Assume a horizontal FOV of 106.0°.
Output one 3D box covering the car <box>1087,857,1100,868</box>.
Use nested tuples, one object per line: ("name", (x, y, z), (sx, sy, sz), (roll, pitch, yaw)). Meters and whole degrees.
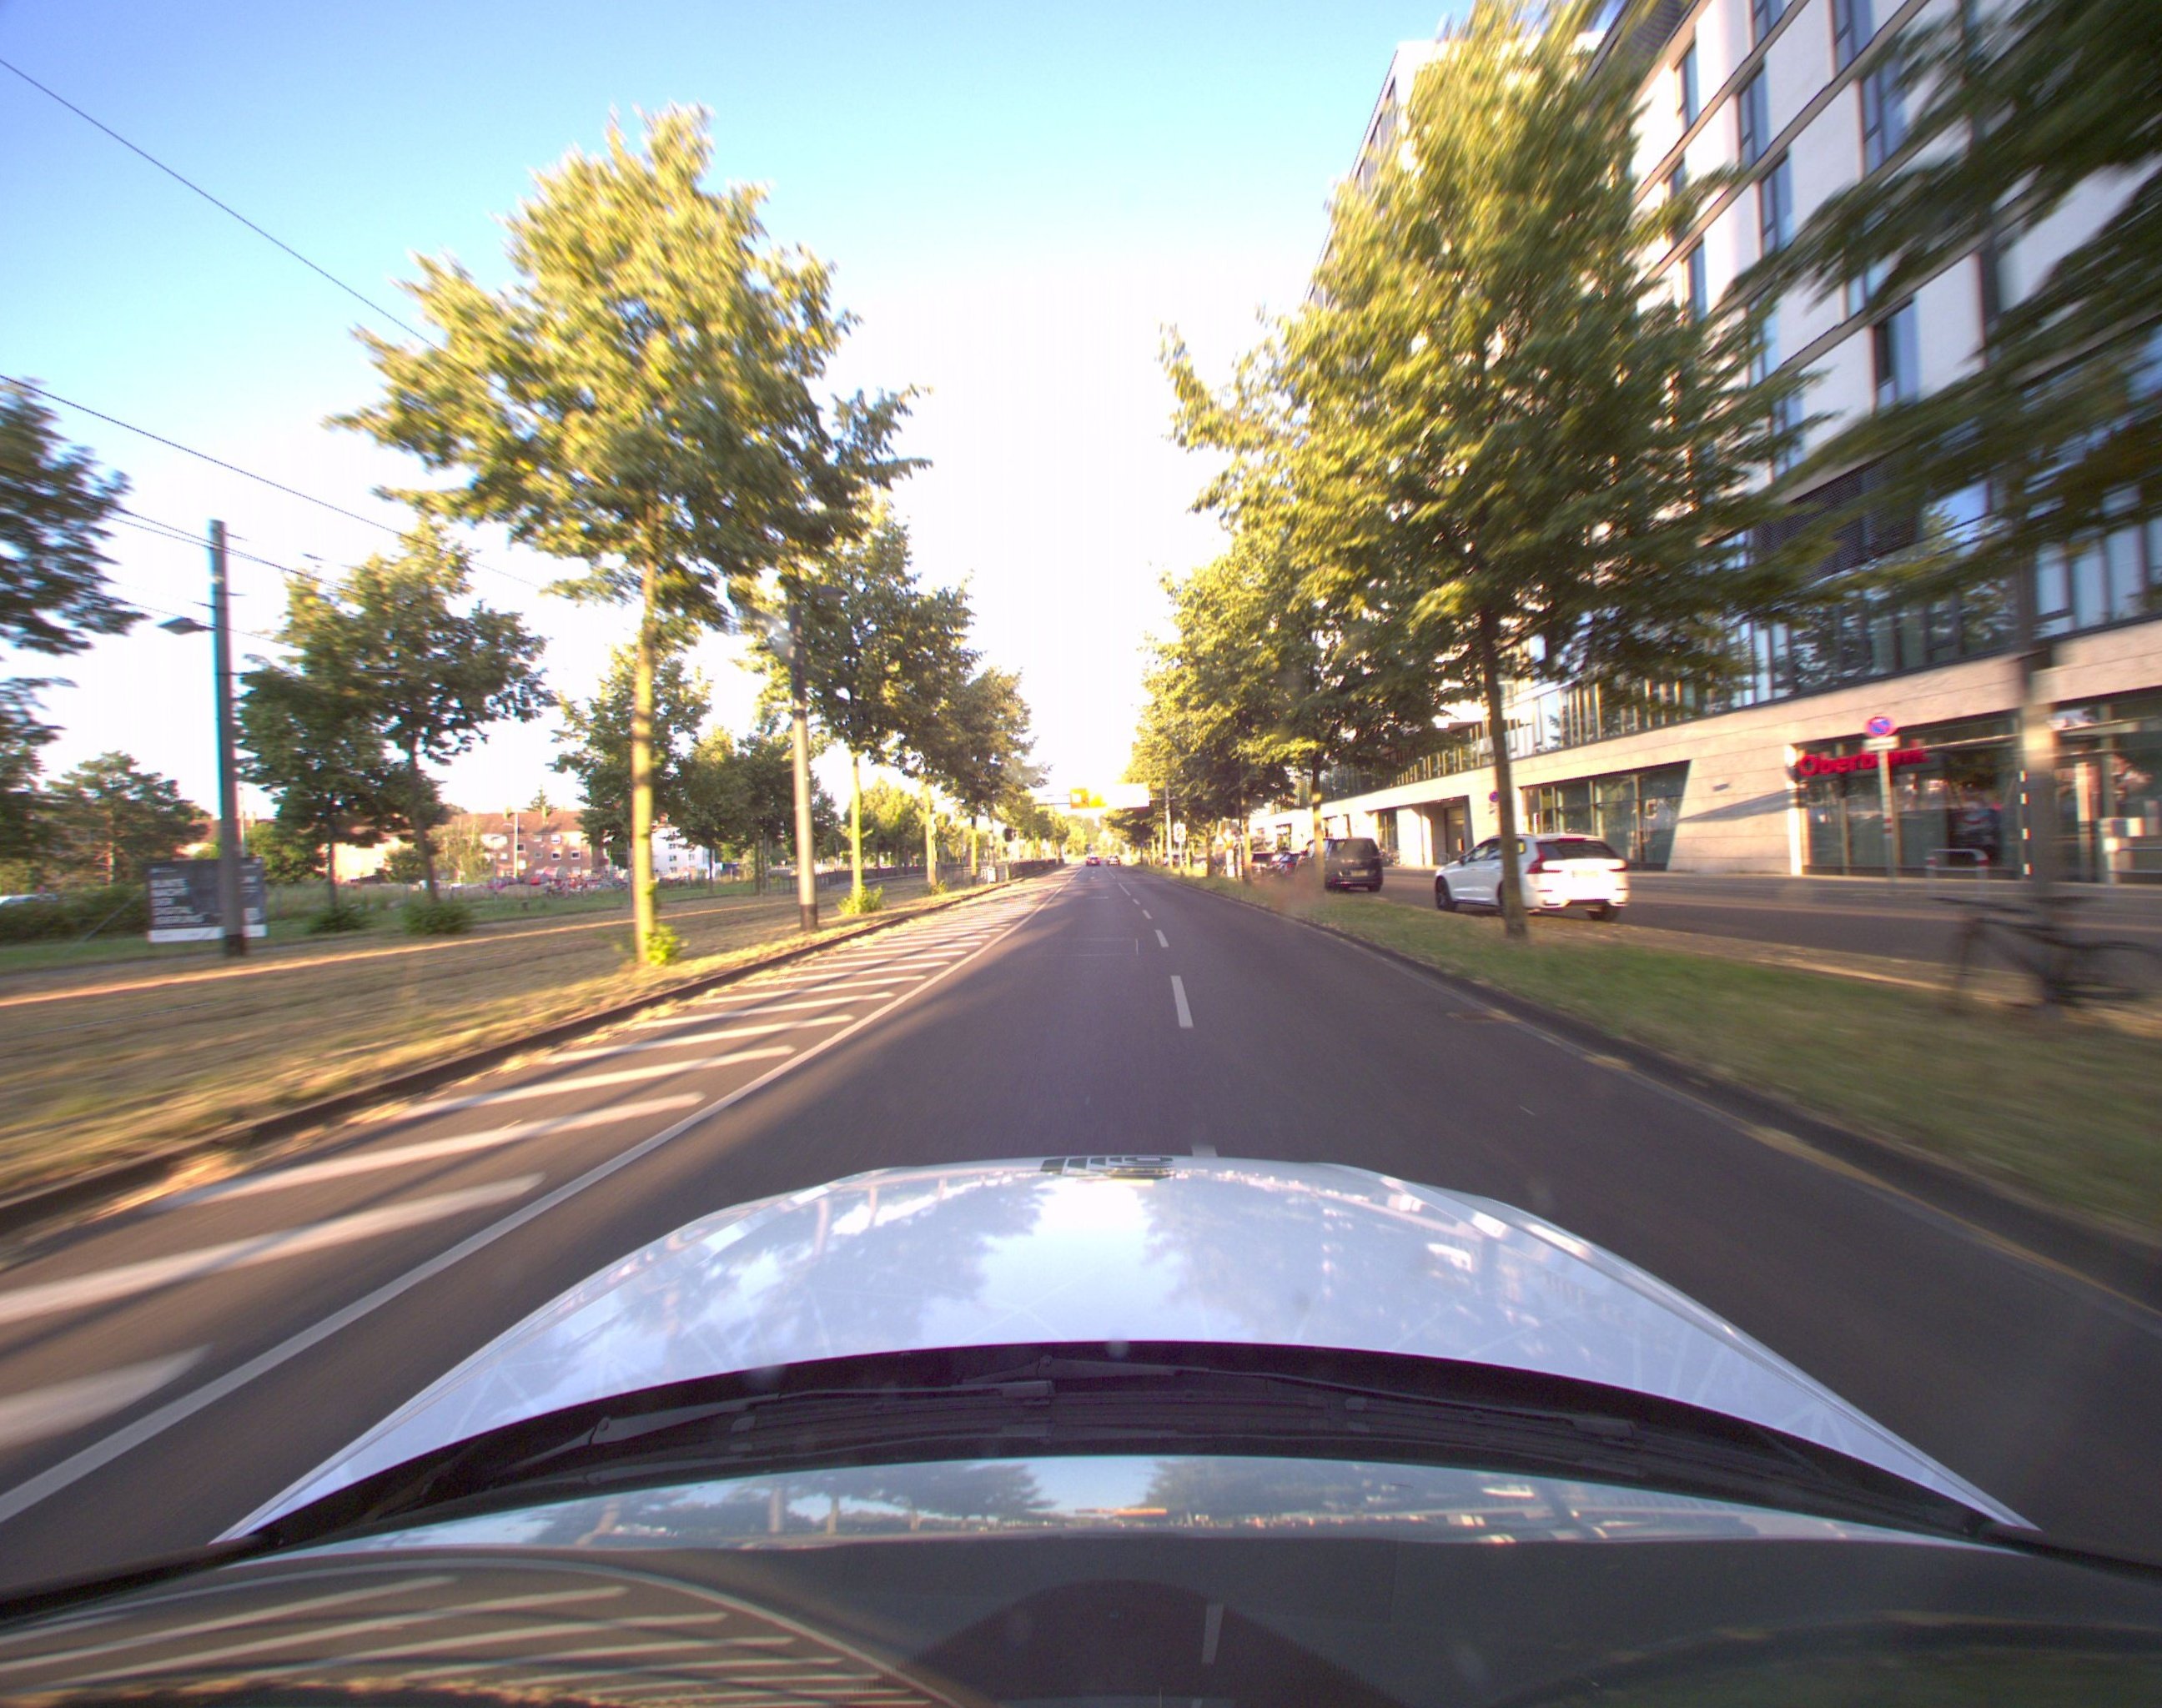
("car", (1.851, 1.288, 125.201), (1.905, 1.486, 4.000), (-2, 0, 0))

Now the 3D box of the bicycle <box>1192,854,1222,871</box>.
("bicycle", (8.422, 0.566, 54.587), (1.940, 1.054, 0.407), (1, 0, -7))

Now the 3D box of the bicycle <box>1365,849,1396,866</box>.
("bicycle", (18.363, 0.202, 49.958), (1.737, 0.953, 0.404), (-3, 0, 1))

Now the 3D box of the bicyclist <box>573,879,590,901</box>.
("bicyclist", (-35.209, 2.523, 57.427), (0.617, 1.456, 0.937), (-3, 0, -1))

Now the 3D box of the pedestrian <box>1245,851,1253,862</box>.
("pedestrian", (19.758, 0.318, 95.645), (0.580, 1.283, 0.735), (-2, 0, -17))

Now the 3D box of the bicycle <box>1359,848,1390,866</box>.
("bicycle", (18.571, 0.166, 51.553), (1.824, 1.057, 0.404), (-3, 0, 1))

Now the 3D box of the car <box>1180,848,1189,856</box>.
("car", (26.746, -0.522, 210.424), (1.981, 1.728, 4.011), (-3, 0, 10))

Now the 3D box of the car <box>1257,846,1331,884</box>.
("car", (9.020, 0.451, 34.867), (1.804, 1.471, 4.663), (-3, 0, -1))

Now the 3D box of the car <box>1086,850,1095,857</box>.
("car", (2.138, -0.048, 177.055), (1.905, 1.486, 4.000), (-2, 0, 0))

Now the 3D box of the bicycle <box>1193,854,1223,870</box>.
("bicycle", (8.709, 0.572, 55.905), (1.940, 1.054, 0.413), (1, 0, -7))

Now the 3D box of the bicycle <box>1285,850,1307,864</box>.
("bicycle", (18.883, 0.276, 71.542), (1.781, 1.104, 0.508), (-2, -1, -4))

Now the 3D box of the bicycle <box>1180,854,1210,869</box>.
("bicycle", (8.338, 0.580, 59.573), (2.139, 1.054, 0.561), (1, 0, -6))

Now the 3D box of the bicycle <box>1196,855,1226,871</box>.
("bicycle", (8.784, 0.580, 55.022), (1.940, 1.054, 0.314), (1, 0, -7))

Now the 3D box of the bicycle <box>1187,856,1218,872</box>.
("bicycle", (7.904, 0.649, 52.874), (1.942, 1.054, 0.543), (1, 0, -10))

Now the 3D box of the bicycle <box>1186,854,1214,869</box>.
("bicycle", (8.497, 0.551, 58.177), (1.939, 1.054, 0.403), (1, 0, -6))

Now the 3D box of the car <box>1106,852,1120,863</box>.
("car", (4.481, 0.491, 114.573), (1.905, 1.486, 4.000), (-2, 0, 0))

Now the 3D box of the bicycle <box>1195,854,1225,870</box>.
("bicycle", (8.765, 0.562, 55.371), (1.940, 1.054, 0.347), (1, 0, -7))

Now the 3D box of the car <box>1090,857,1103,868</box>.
("car", (2.237, 1.237, 118.579), (1.905, 1.486, 4.000), (-2, 0, 0))

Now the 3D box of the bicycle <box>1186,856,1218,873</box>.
("bicycle", (7.756, 0.655, 52.100), (1.944, 1.054, 0.542), (1, 0, -14))

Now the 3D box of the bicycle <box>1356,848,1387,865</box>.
("bicycle", (18.555, 0.168, 52.040), (1.824, 1.047, 0.446), (-3, 0, 1))

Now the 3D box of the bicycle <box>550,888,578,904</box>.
("bicycle", (-36.234, 2.939, 57.088), (0.617, 1.011, 2.082), (-3, 0, -1))

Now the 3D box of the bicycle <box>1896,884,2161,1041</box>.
("bicycle", (6.325, 0.648, 5.395), (0.314, 0.823, 1.553), (-3, 0, 2))

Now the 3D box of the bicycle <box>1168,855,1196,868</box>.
("bicycle", (7.993, 0.589, 64.402), (2.139, 0.939, 0.442), (1, 0, -6))

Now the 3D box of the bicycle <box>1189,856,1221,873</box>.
("bicycle", (7.846, 0.674, 51.527), (1.944, 1.054, 0.542), (1, 0, -14))

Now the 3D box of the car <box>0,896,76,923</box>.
("car", (-91.506, 4.799, 71.041), (1.991, 2.013, 4.794), (-3, 0, -6))

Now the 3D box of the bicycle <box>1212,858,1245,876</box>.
("bicycle", (9.104, 0.786, 50.357), (1.935, 1.054, 0.545), (1, 0, 0))

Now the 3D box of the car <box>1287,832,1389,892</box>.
("car", (8.914, 0.277, 28.724), (1.988, 1.852, 4.663), (-3, 0, -1))

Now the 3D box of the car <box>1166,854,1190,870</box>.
("car", (9.647, 0.762, 81.018), (1.772, 1.472, 4.286), (-2, 0, -1))

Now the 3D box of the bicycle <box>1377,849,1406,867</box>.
("bicycle", (18.646, 0.251, 48.917), (1.569, 0.987, 0.404), (-3, 0, 1))

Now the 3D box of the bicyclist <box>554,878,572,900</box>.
("bicyclist", (-36.261, 2.463, 56.990), (0.617, 1.456, 0.937), (-3, 0, -1))

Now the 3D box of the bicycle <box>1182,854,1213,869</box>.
("bicycle", (8.422, 0.565, 58.845), (2.139, 1.054, 0.570), (1, 0, -6))

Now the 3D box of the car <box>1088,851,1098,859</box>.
("car", (2.318, 0.199, 160.253), (1.905, 1.486, 4.000), (-2, 0, 0))

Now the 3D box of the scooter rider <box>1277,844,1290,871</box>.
("scooter rider", (12.486, 0.233, 50.202), (0.524, 1.638, 0.831), (-2, 0, -2))

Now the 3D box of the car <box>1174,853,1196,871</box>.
("car", (9.413, 0.713, 74.179), (1.569, 1.472, 3.882), (-2, 0, 2))

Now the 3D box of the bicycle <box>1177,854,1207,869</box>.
("bicycle", (8.239, 0.561, 60.329), (2.139, 1.054, 0.570), (1, 0, -6))

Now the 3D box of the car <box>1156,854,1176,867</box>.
("car", (10.014, 0.743, 96.181), (1.752, 1.466, 4.156), (-2, 0, -1))

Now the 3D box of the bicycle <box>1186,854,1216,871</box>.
("bicycle", (7.947, 0.574, 54.082), (1.940, 1.054, 0.407), (1, 0, -7))

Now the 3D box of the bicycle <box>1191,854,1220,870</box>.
("bicycle", (8.655, 0.566, 56.437), (1.940, 1.054, 0.413), (1, 0, -7))

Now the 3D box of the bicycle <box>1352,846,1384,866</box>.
("bicycle", (18.526, 0.112, 52.554), (1.824, 1.177, 0.446), (-3, 0, 1))

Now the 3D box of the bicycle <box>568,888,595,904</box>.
("bicycle", (-35.195, 2.925, 57.419), (0.617, 1.011, 2.082), (-3, 0, -1))

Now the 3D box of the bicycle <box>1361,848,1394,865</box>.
("bicycle", (18.351, 0.162, 50.450), (1.824, 0.987, 0.404), (-3, 0, 1))

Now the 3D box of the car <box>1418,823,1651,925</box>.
("car", (8.721, 0.342, 16.288), (1.986, 1.642, 4.880), (-3, 0, 2))

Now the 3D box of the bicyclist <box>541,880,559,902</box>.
("bicyclist", (-35.935, 2.518, 55.118), (0.617, 1.421, 0.937), (-3, 0, -1))

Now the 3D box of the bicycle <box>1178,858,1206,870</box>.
("bicycle", (8.945, 0.794, 65.498), (2.139, 0.939, 0.442), (1, 0, -6))

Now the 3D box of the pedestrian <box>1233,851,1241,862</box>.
("pedestrian", (18.382, 0.339, 95.978), (0.628, 1.283, 0.712), (-2, 0, -21))

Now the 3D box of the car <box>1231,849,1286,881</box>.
("car", (8.921, 0.534, 41.235), (1.862, 1.411, 4.648), (-3, 0, 2))

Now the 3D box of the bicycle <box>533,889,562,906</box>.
("bicycle", (-35.921, 2.938, 54.866), (0.617, 1.011, 2.082), (-3, 0, -1))

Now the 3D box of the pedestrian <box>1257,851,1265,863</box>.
("pedestrian", (18.564, 0.337, 84.026), (0.569, 1.195, 0.807), (-2, 0, 3))

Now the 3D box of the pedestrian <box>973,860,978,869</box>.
("pedestrian", (-15.134, 1.477, 116.688), (0.613, 1.319, 0.744), (-2, 0, -3))

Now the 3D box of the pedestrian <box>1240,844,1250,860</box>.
("pedestrian", (18.500, -0.249, 91.941), (0.707, 1.737, 0.683), (-2, -1, -30))
